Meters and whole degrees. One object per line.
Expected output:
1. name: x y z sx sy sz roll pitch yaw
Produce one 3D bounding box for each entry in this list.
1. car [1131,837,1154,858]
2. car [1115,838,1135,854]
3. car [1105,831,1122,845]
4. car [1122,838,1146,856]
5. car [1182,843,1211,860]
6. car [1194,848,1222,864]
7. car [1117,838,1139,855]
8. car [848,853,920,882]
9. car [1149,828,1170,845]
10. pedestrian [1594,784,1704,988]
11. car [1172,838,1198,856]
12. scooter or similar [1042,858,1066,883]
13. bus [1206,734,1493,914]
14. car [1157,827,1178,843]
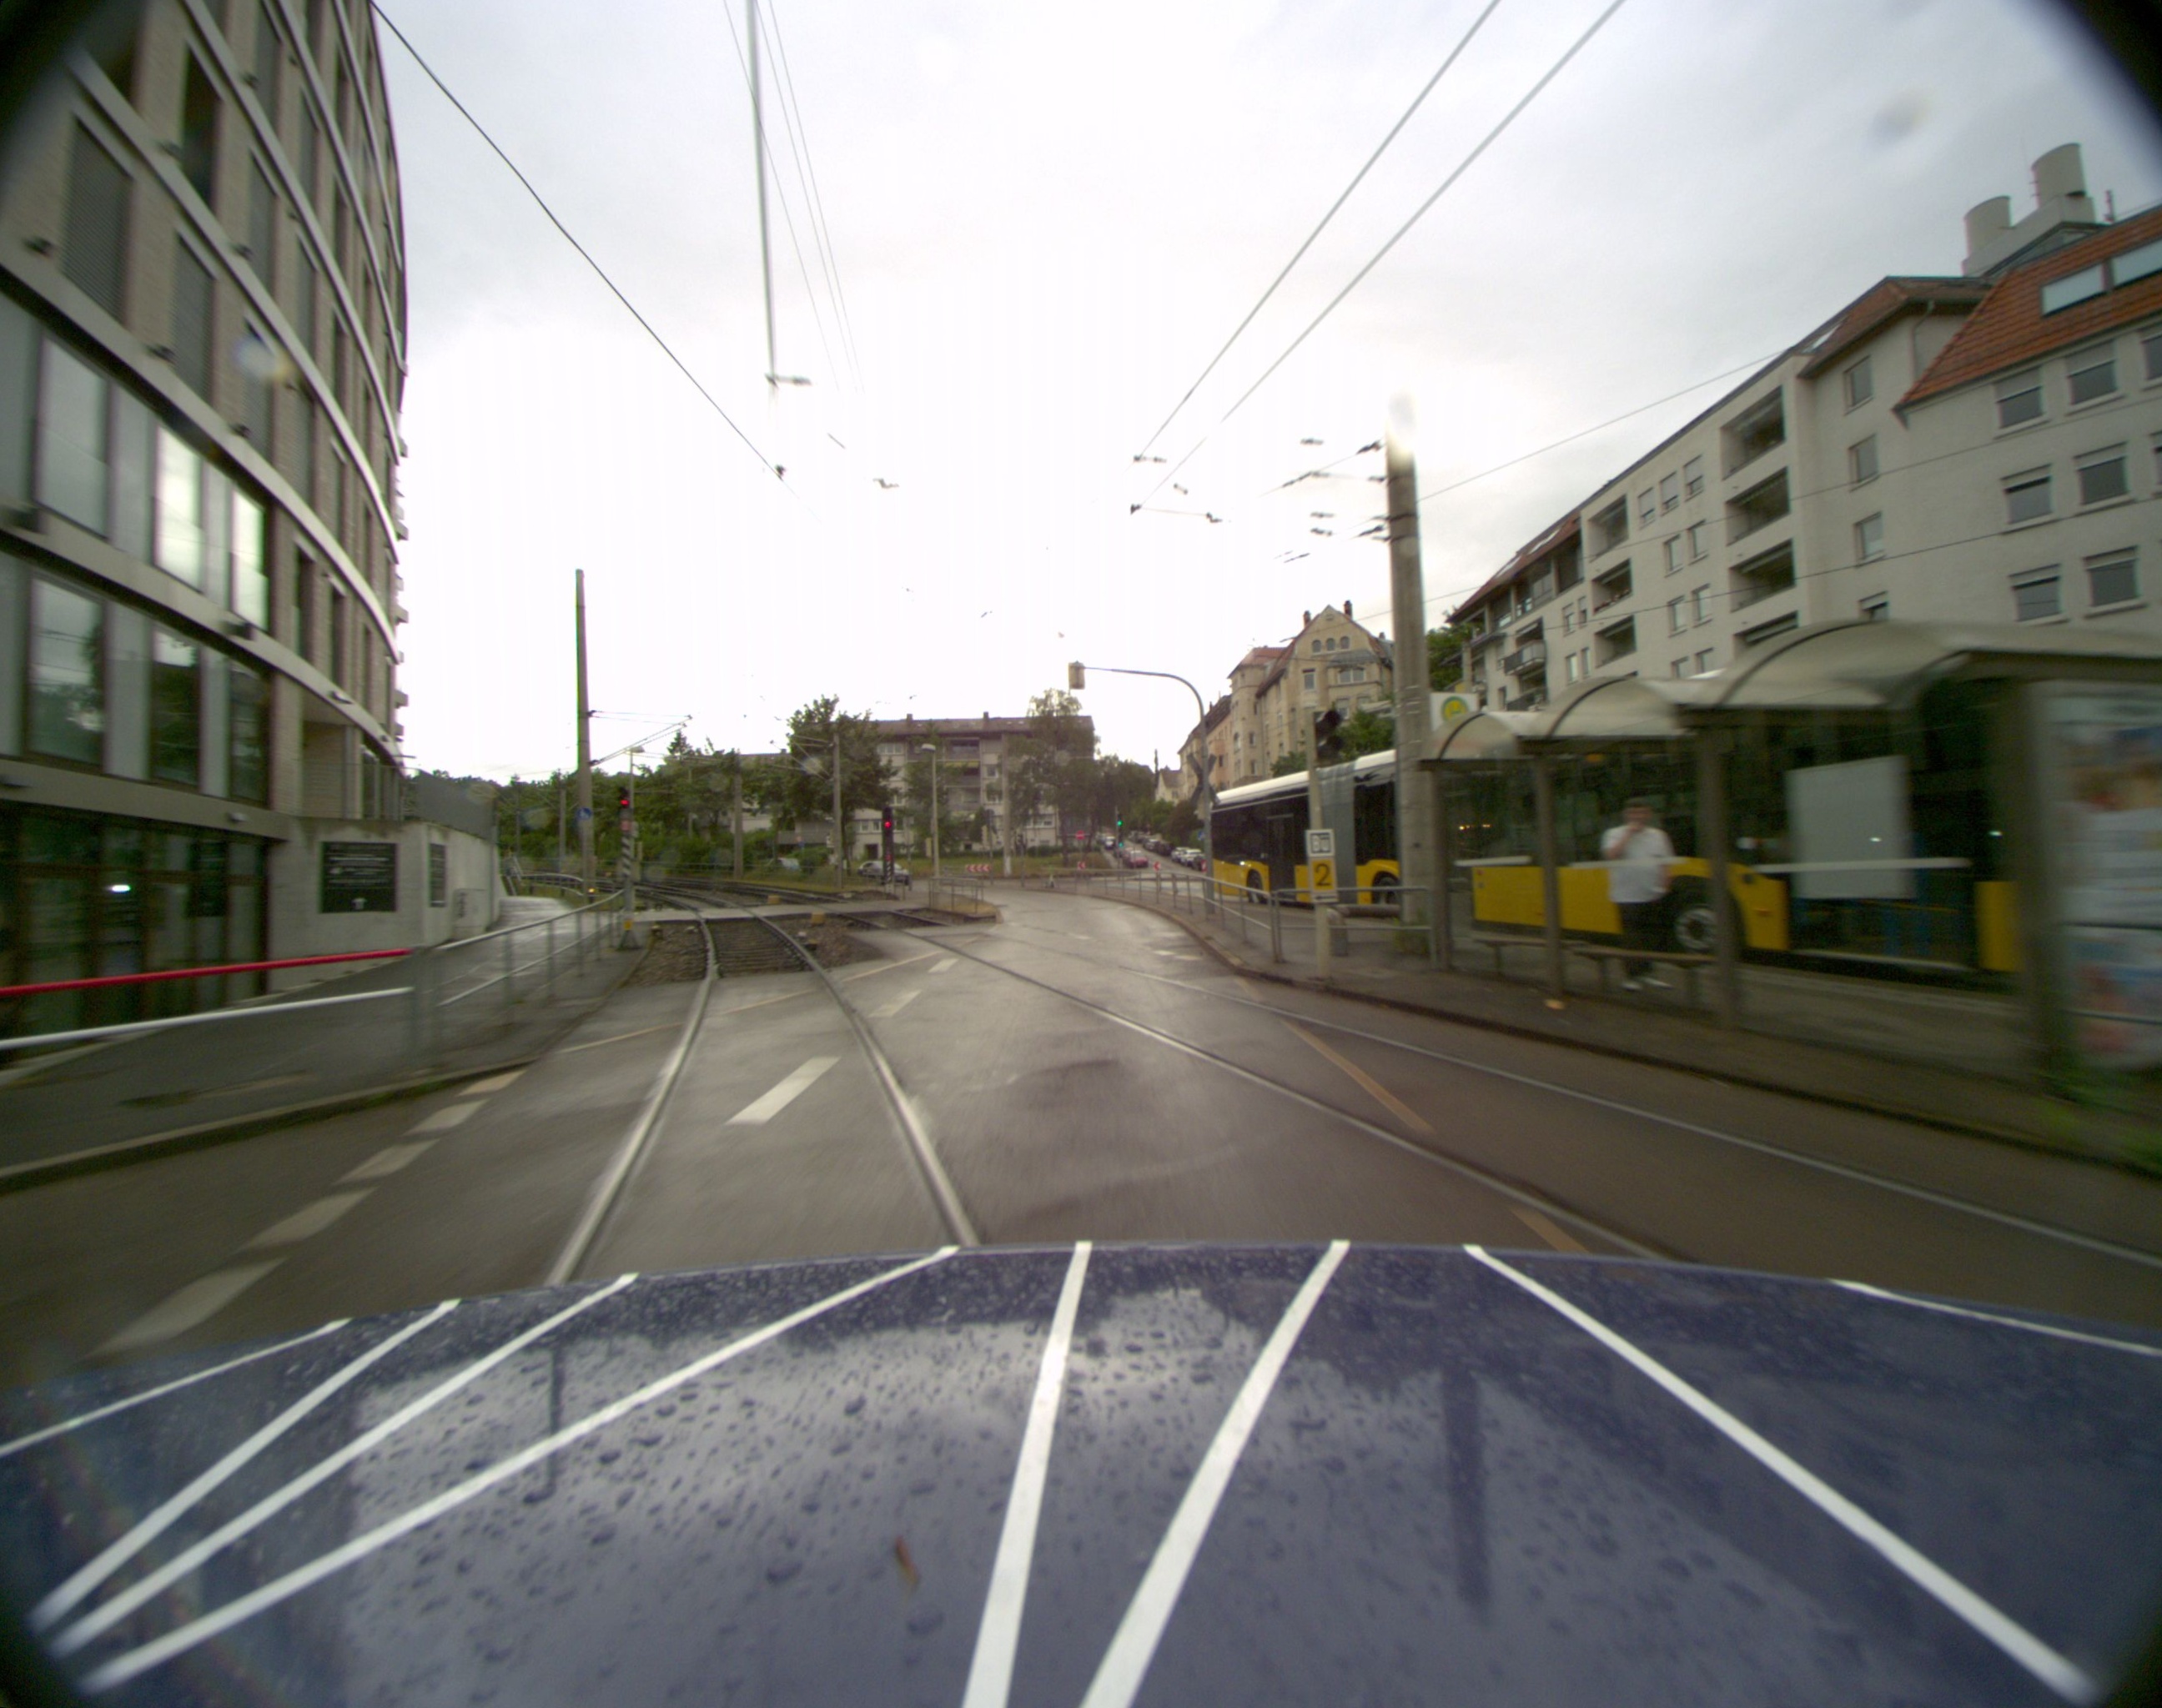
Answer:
1. car: 5.992 -0.632 74.486 1.998 2.002 4.000 -1 0 1
2. car: 5.184 -0.955 90.311 1.805 1.824 4.281 -2 1 -5
3. car: 4.377 -2.148 103.410 1.805 1.824 4.281 -2 1 -5
4. car: 5.515 -0.766 79.660 1.805 1.824 4.281 -2 1 -5
5. car: 11.175 -0.267 73.621 1.999 1.584 4.354 -1 1 -2
6. car: 11.071 0.154 66.596 1.752 1.216 4.356 -1 1 1
7. car: 5.299 -0.831 85.339 1.805 1.824 4.281 -2 1 -5
8. car: -11.664 0.812 44.834 4.292 1.607 1.817 -2 1 38
9. car: 9.628 -2.122 93.521 1.999 2.002 3.998 -1 1 -2
10. pedestrian: 5.089 0.268 6.828 0.578 1.742 0.542 -2 2 -14
11. car: 10.788 -0.684 79.256 1.805 1.824 4.281 0 0 -5
12. scooter or similar: -1.235 0.740 35.037 0.435 1.107 1.602 -3 1 -26
13. bus: 6.023 -0.656 19.265 2.599 3.449 9.097 -2 1 -11
14. car: 10.159 -2.234 89.680 1.680 1.824 3.664 -2 1 -5
